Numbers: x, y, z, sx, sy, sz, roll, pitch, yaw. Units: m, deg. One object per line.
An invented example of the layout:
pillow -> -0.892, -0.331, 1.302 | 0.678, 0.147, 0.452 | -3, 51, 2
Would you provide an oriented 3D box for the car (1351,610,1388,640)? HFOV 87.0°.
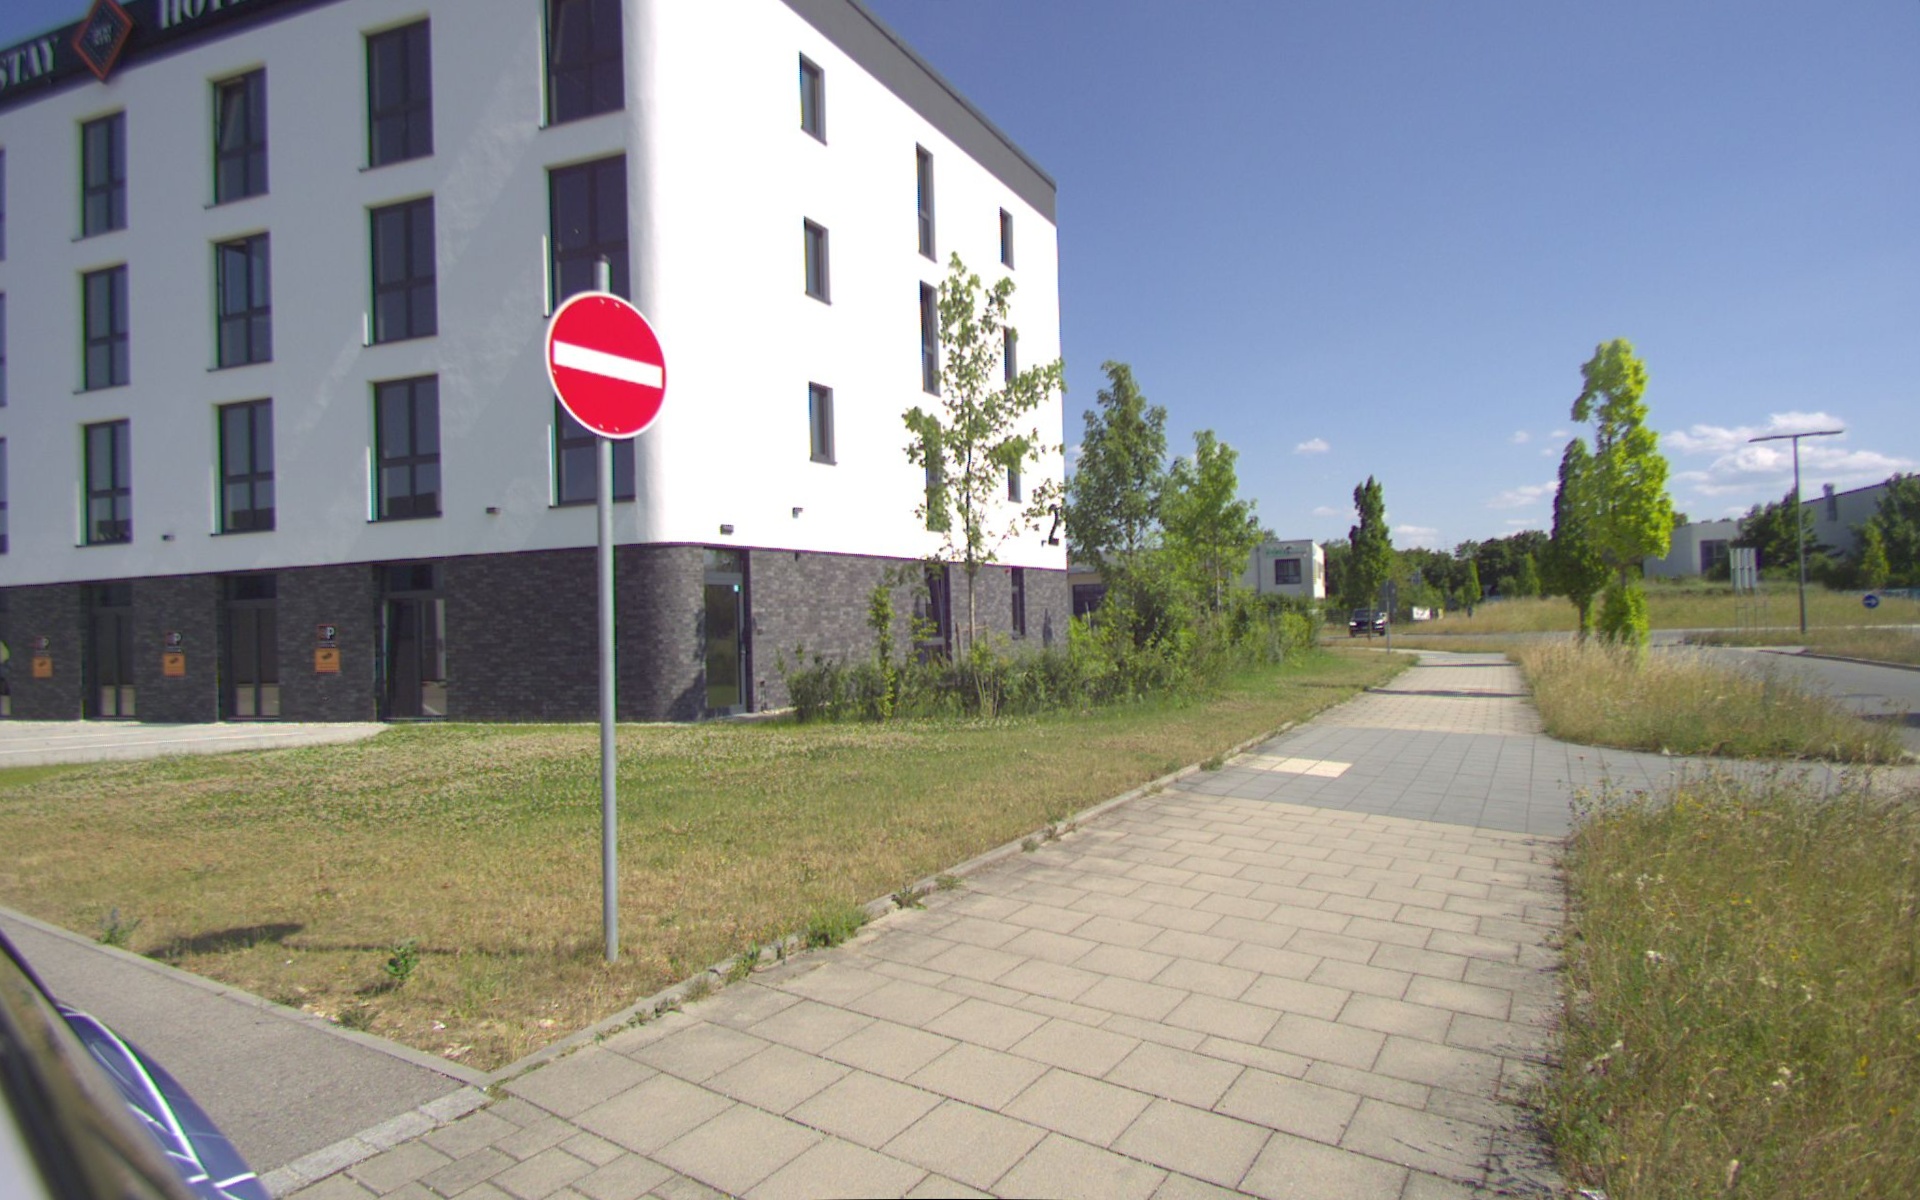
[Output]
car -> 23.619, 1.437, 58.366 | 1.831, 1.586, 3.969 | -4, -2, 23
